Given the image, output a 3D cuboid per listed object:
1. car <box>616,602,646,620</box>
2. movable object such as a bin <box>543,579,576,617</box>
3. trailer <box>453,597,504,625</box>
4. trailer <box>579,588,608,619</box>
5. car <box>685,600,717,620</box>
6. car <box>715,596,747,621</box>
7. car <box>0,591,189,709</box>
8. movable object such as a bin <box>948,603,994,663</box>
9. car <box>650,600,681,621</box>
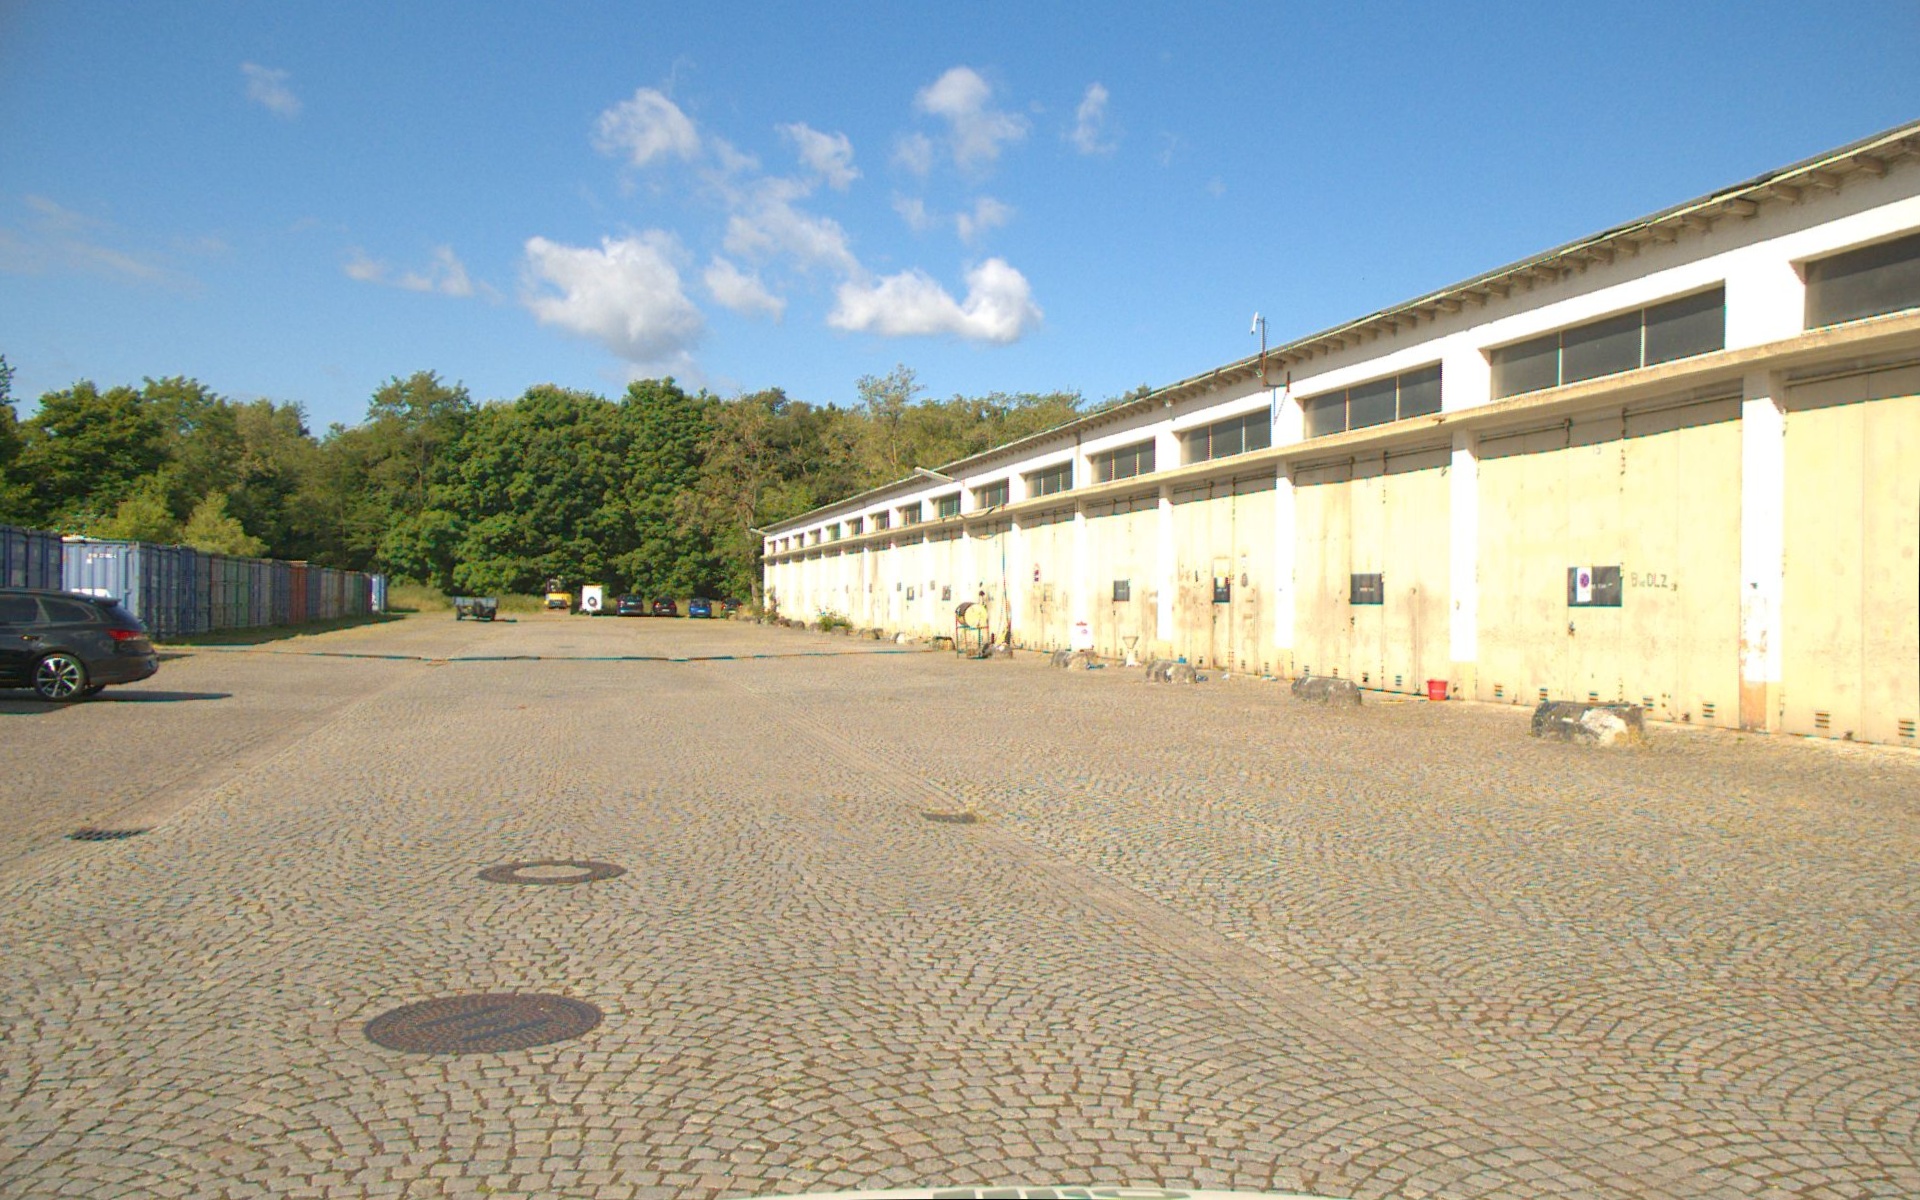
[{"bbox_3d":[-23.773,0.757,119.439,1.960,1.280,3.986,0,0,-14],"label":"car"},{"bbox_3d":[-29.122,-0.146,120.139,2.196,2.704,3.983,0,0,-16],"label":"movable object such as a bin"},{"bbox_3d":[-29.146,0.668,100.283,2.744,1.675,5.599,0,0,-14],"label":"trailer"},{"bbox_3d":[-26.601,0.260,119.995,1.960,2.200,4.415,0,0,-14],"label":"trailer"},{"bbox_3d":[-18.976,0.718,121.023,1.960,1.491,3.986,0,0,-14],"label":"car"},{"bbox_3d":[-17.010,0.608,122.798,1.960,1.803,3.986,0,0,-14],"label":"car"},{"bbox_3d":[-12.852,0.622,22.067,4.345,1.490,1.990,2,-1,-17],"label":"car"},{"bbox_3d":[0.266,0.783,40.021,0.860,1.426,1.097,1,0,-15],"label":"movable object such as a bin"},{"bbox_3d":[-21.449,0.745,120.409,1.960,1.449,3.986,0,0,-14],"label":"car"}]
